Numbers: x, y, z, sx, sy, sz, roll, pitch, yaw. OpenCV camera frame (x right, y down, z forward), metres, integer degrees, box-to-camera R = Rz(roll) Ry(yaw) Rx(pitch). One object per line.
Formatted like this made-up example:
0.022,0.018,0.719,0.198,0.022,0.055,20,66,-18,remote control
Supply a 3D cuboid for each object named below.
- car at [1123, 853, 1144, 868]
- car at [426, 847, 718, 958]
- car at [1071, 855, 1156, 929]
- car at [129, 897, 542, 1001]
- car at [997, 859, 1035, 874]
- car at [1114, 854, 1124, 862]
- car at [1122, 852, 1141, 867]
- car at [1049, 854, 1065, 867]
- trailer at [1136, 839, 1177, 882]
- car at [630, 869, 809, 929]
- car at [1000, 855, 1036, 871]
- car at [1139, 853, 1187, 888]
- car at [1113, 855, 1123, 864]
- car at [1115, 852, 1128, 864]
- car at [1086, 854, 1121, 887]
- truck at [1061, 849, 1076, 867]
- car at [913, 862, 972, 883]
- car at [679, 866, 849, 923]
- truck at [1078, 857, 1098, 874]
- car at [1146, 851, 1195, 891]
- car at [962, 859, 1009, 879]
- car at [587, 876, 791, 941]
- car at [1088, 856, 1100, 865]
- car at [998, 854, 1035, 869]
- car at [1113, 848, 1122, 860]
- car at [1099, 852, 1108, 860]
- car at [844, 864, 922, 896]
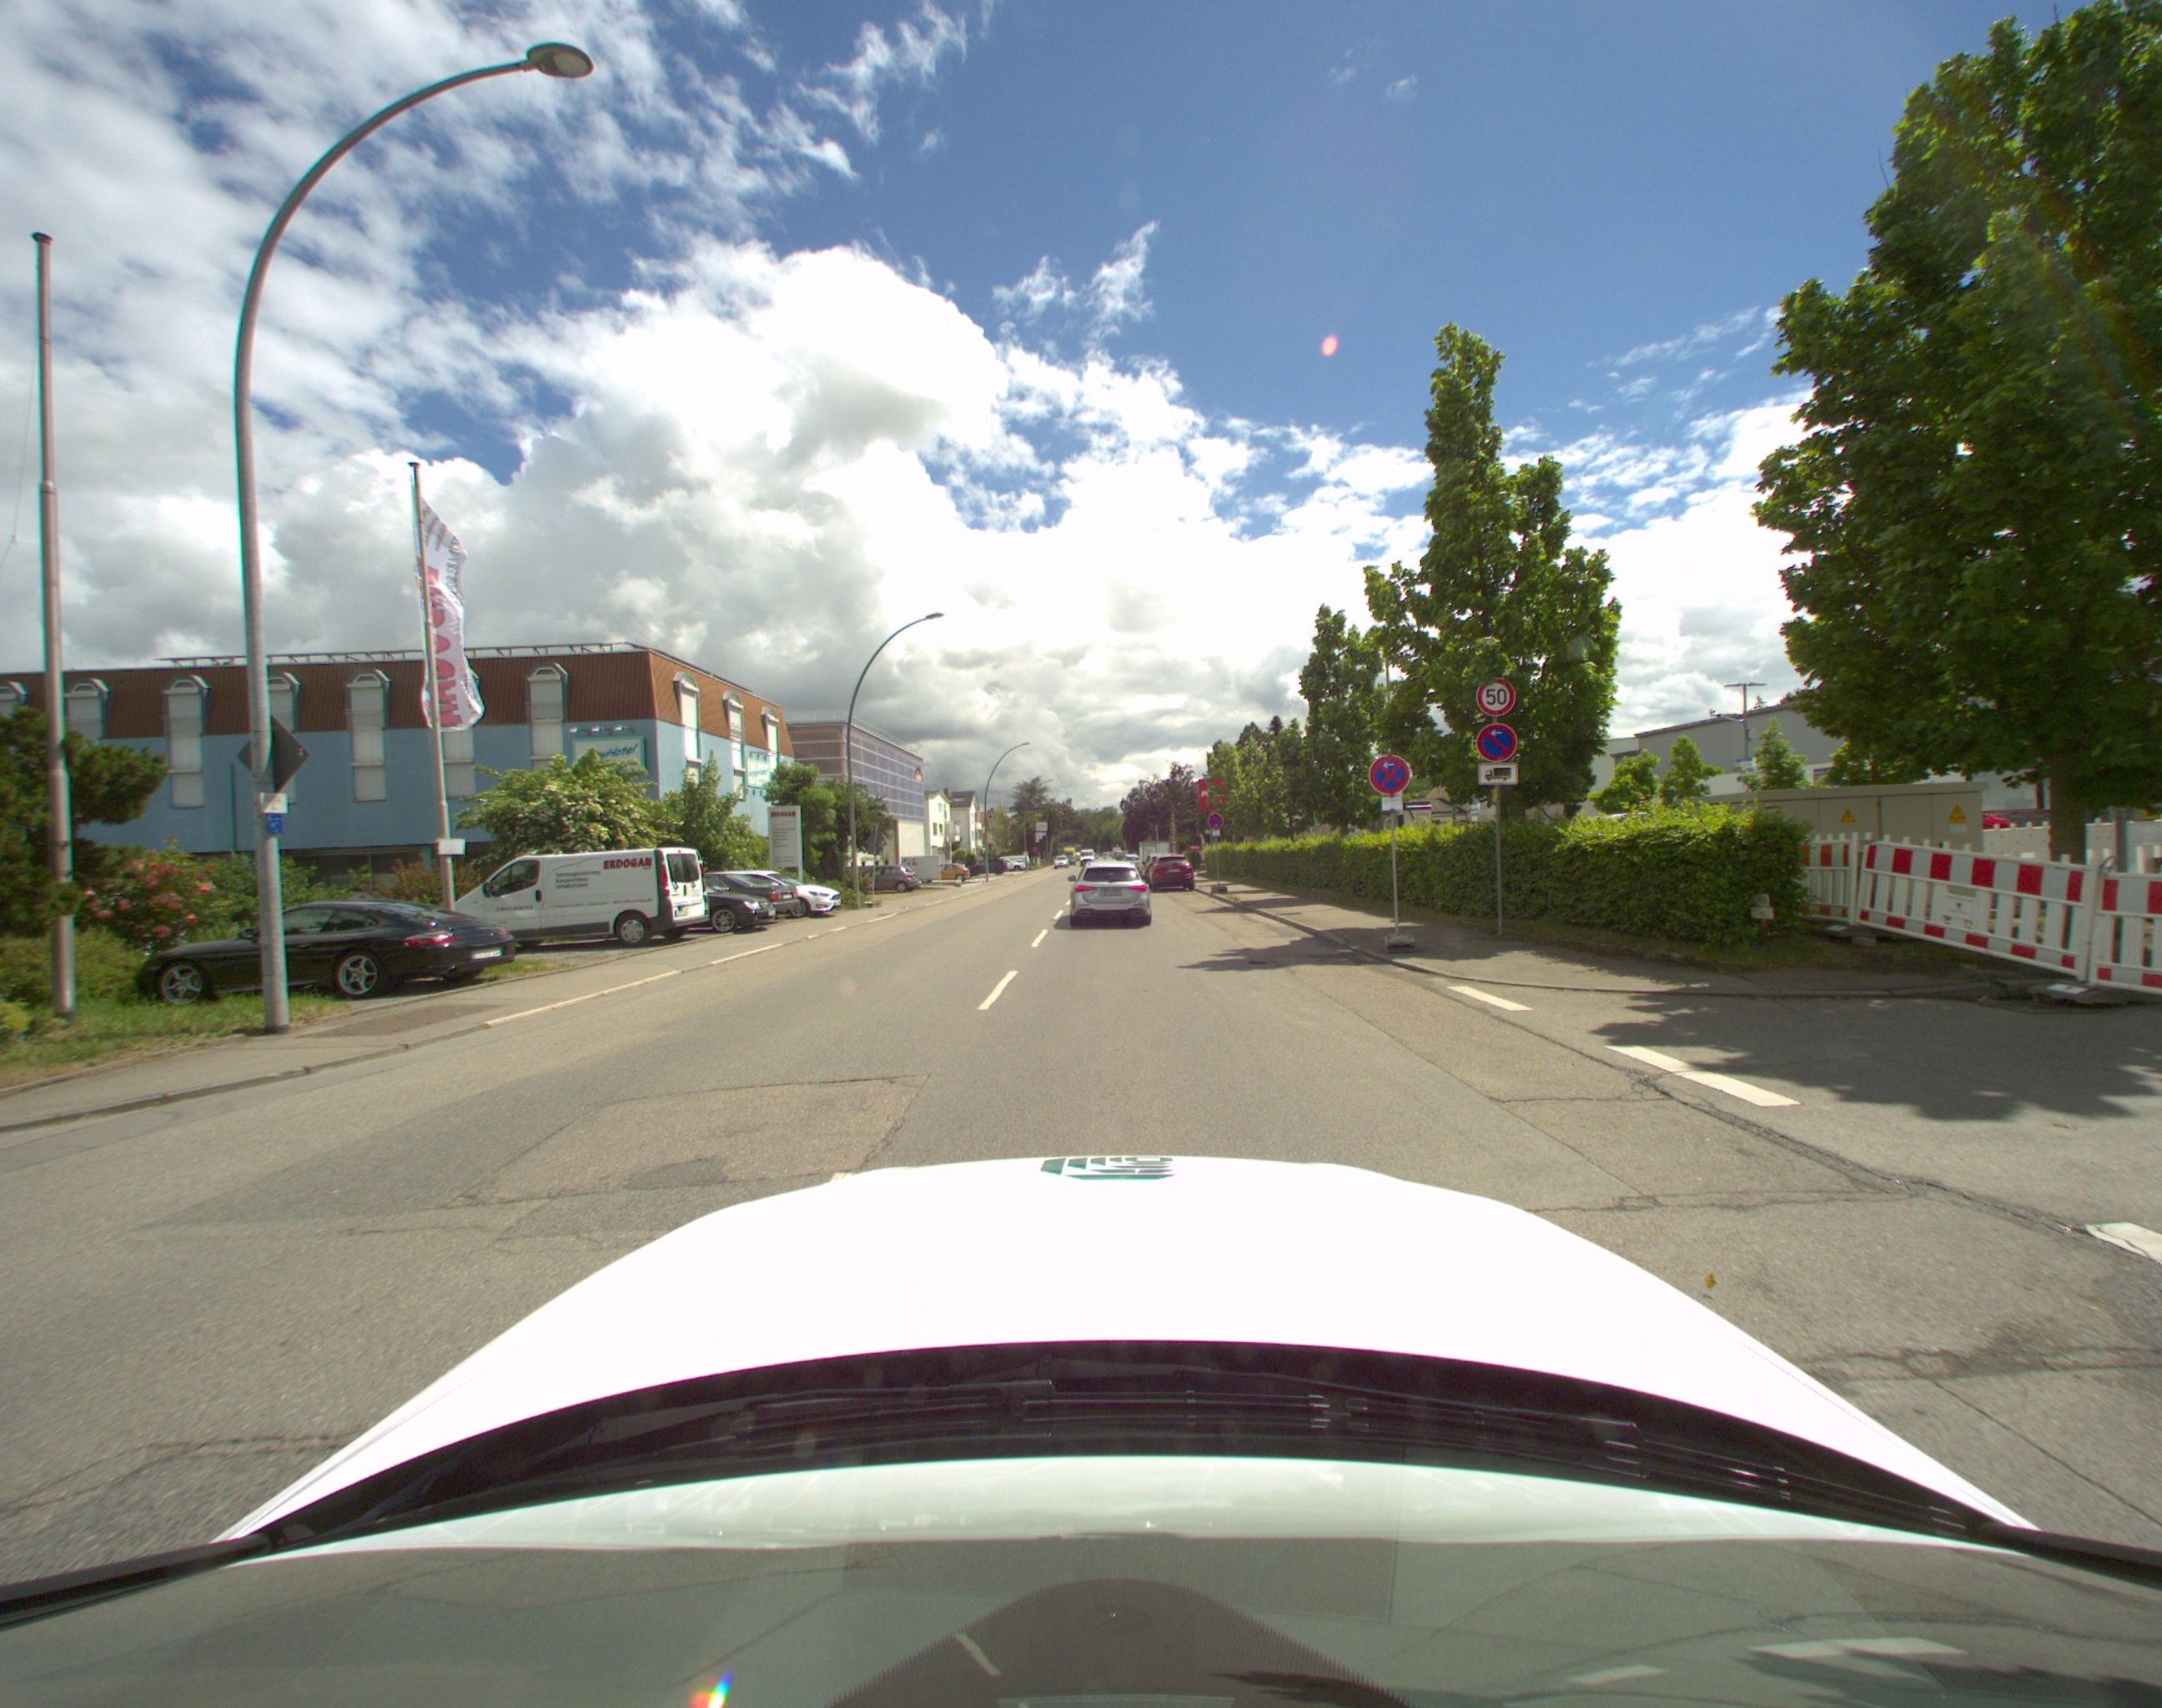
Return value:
5.377,0.637,83.380,1.786,1.450,4.362,-3,0,-1,car
-10.421,0.930,17.012,4.639,1.972,2.114,-2,0,-2,car
0.677,0.809,19.389,1.779,1.484,4.316,-1,0,0,car
-10.120,1.261,11.326,3.974,1.204,1.871,0,0,-1,car
-7.702,1.484,96.638,4.263,1.567,1.992,-3,-3,1,car
7.533,0.796,161.174,1.779,1.484,4.315,-1,-1,0,car
5.461,0.562,89.066,1.785,1.552,4.574,-3,0,1,car
-3.161,0.841,106.882,1.785,1.603,4.365,-3,0,1,car
4.355,0.365,47.540,1.935,2.294,4.445,-3,0,0,trailer
-9.757,1.205,22.171,3.970,1.355,1.873,-2,0,3,car
-7.878,1.138,101.904,4.265,1.836,1.991,-3,-3,0,car
4.133,0.781,41.605,1.936,1.571,4.444,-3,0,0,car
7.509,1.085,167.338,1.779,1.715,4.315,-1,-1,0,car
7.119,0.678,142.282,2.136,1.984,5.263,-3,0,2,car
1.188,0.844,43.347,1.749,1.558,4.001,-2,0,1,car
-2.150,0.620,140.746,2.066,2.814,7.083,-3,0,3,truck
-10.331,1.373,60.919,4.139,1.492,1.824,0,0,-2,car
-9.510,1.201,24.659,4.358,1.478,1.872,-2,-1,1,car
0.961,1.578,113.744,2.309,2.178,6.455,-3,0,4,truck
3.938,0.698,36.436,1.933,1.571,4.450,-3,0,4,car
-10.012,1.556,85.567,4.615,1.632,2.196,-5,0,-2,car
-9.426,1.285,19.819,3.974,1.315,1.871,-2,-1,0,car
2.615,1.256,163.194,1.985,1.733,4.552,-3,0,3,car
-7.879,0.939,99.619,4.265,1.567,1.991,-3,-3,0,car
7.976,0.089,179.908,1.779,2.518,4.315,-1,-1,0,car
4.716,0.445,169.774,1.749,1.558,4.001,-2,0,1,car
-10.720,1.369,44.249,3.612,1.532,1.981,-2,0,3,car
